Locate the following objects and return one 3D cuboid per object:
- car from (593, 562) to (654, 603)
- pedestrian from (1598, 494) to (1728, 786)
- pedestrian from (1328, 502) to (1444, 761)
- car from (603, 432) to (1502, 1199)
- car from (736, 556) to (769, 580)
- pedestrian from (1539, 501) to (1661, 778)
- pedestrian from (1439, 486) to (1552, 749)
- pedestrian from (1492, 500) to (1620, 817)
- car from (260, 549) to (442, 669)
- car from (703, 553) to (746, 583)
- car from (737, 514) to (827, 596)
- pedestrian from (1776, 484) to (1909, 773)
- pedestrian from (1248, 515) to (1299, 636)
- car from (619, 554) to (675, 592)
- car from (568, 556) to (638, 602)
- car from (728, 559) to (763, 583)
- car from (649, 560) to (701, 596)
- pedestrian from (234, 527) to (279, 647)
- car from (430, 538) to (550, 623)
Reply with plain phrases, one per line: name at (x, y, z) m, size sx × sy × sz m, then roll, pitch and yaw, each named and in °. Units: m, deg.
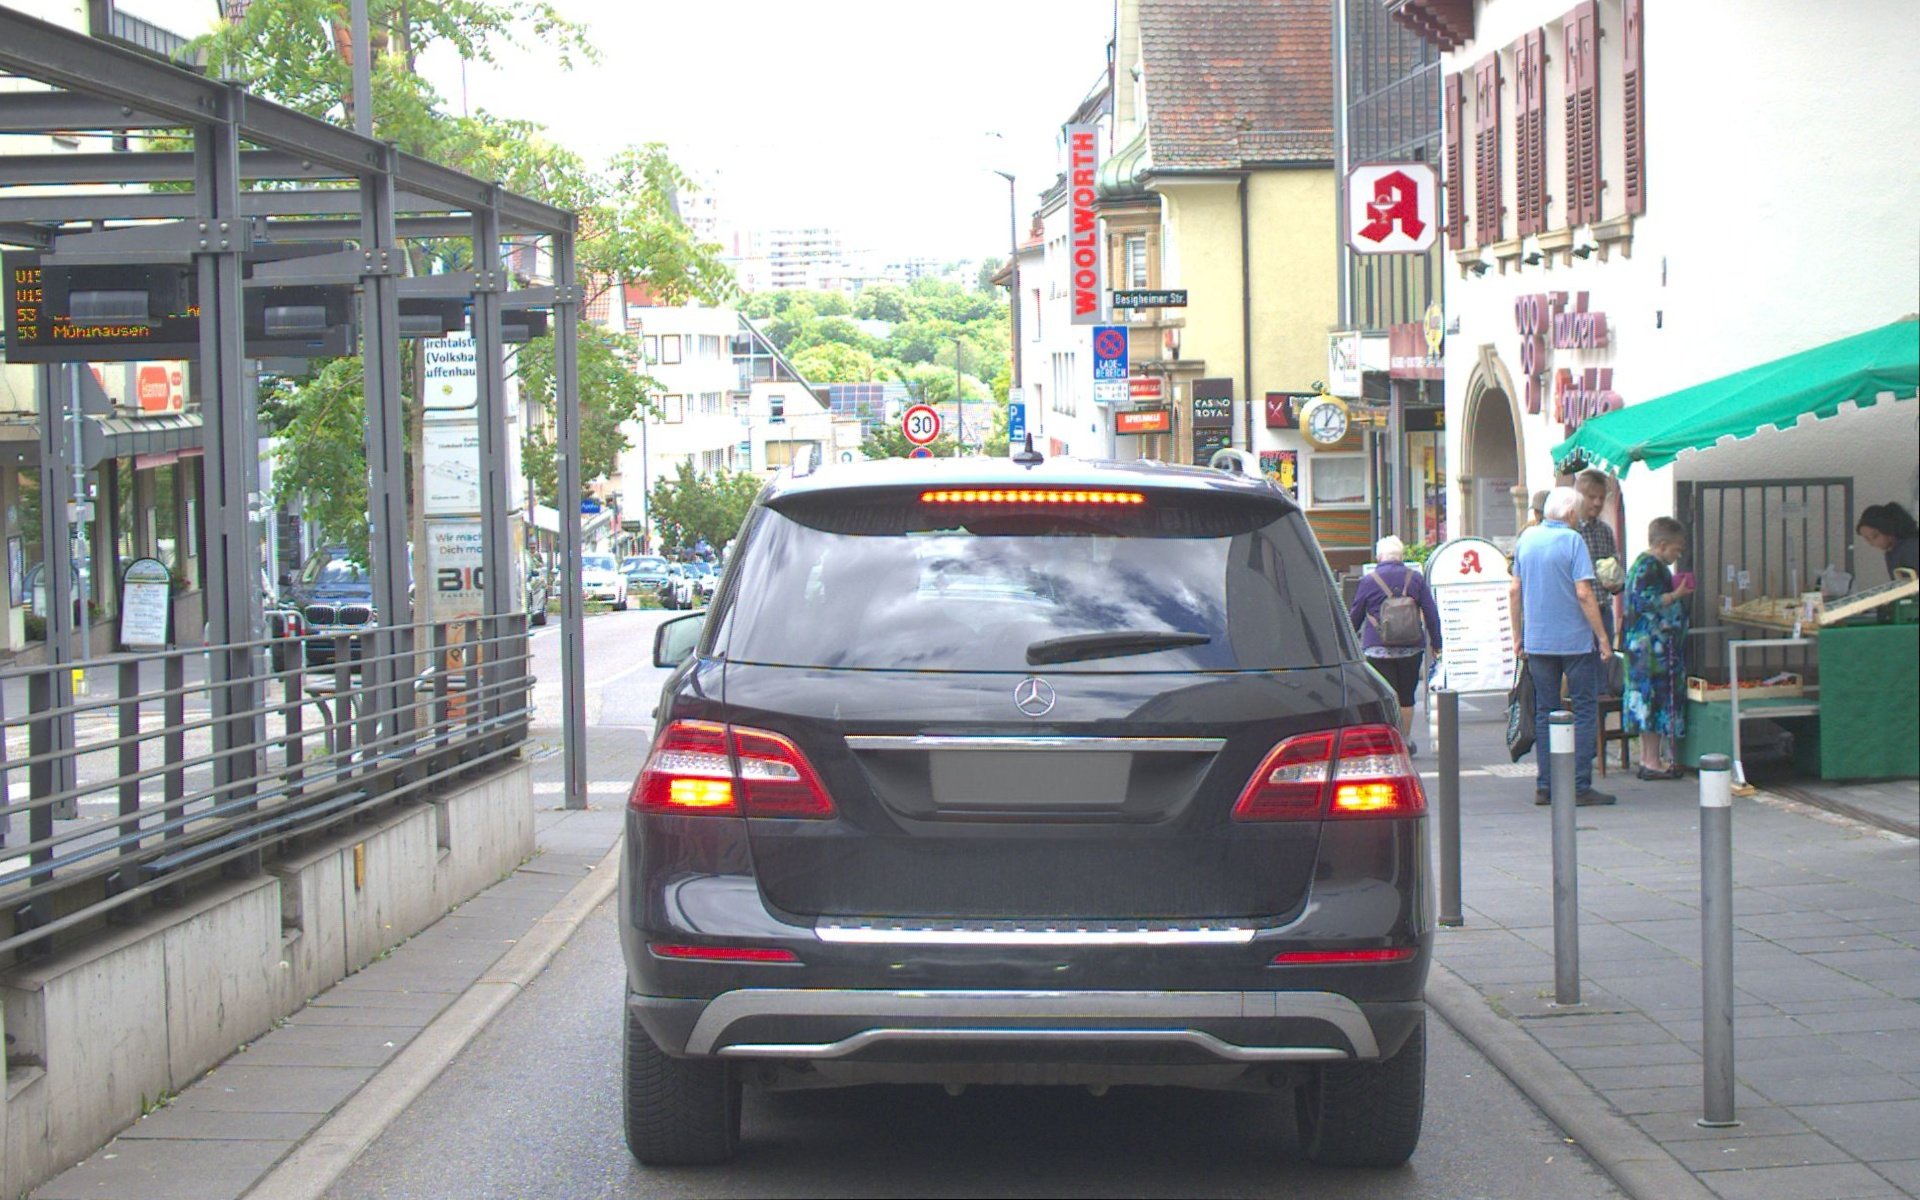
car at (-9.456, -0.500, 96.847) m, size 1.388 × 1.066 × 3.113 m, roll -1°, pitch 1°, yaw 0°
pedestrian at (4.142, 0.224, 20.278) m, size 0.573 × 1.683 × 0.566 m, roll -1°, pitch 1°, yaw -6°
pedestrian at (2.807, 0.201, 22.689) m, size 0.621 × 1.683 × 0.566 m, roll 1°, pitch 1°, yaw -6°
car at (0.127, 0.488, 9.355) m, size 1.900 × 1.741 × 4.001 m, roll 1°, pitch 1°, yaw -2°
car at (-9.911, -1.522, 164.478) m, size 1.388 × 1.066 × 3.113 m, roll -1°, pitch 1°, yaw 0°
pedestrian at (3.958, 0.238, 21.294) m, size 0.573 × 1.683 × 0.566 m, roll 1°, pitch 1°, yaw -6°
pedestrian at (3.746, 0.116, 24.079) m, size 0.639 × 1.803 × 0.685 m, roll 1°, pitch 1°, yaw -1°
pedestrian at (3.308, 0.314, 19.097) m, size 0.542 × 1.720 × 0.528 m, roll -1°, pitch 1°, yaw -6°
car at (-8.028, 0.083, 45.596) m, size 1.689 × 1.484 × 3.979 m, roll 1°, pitch 1°, yaw 0°
car at (-9.032, -1.230, 131.909) m, size 1.388 × 1.066 × 3.113 m, roll -1°, pitch 1°, yaw 0°
car at (-3.828, -0.981, 74.480) m, size 1.770 × 1.707 × 4.000 m, roll 1°, pitch 1°, yaw -1°
pedestrian at (5.238, 0.161, 20.416) m, size 0.573 × 1.683 × 0.566 m, roll -1°, pitch 1°, yaw -6°
pedestrian at (4.444, -0.355, 48.704) m, size 0.606 × 1.683 × 0.724 m, roll -1°, pitch 1°, yaw -1°
car at (-9.336, -0.828, 102.688) m, size 1.388 × 1.066 × 3.113 m, roll -1°, pitch 1°, yaw 0°
car at (-8.862, -0.539, 85.492) m, size 1.388 × 1.066 × 3.113 m, roll -1°, pitch 1°, yaw 0°
car at (-9.933, -1.339, 159.192) m, size 1.388 × 1.066 × 3.113 m, roll -1°, pitch 1°, yaw 0°
car at (-9.168, -0.721, 110.686) m, size 1.388 × 1.066 × 3.113 m, roll -1°, pitch 1°, yaw 0°
pedestrian at (-9.951, -0.182, 48.645) m, size 0.513 × 1.683 × 0.541 m, roll 1°, pitch 1°, yaw -1°
car at (-8.555, -0.381, 62.839) m, size 1.660 × 1.484 × 3.748 m, roll 1°, pitch 1°, yaw 0°
